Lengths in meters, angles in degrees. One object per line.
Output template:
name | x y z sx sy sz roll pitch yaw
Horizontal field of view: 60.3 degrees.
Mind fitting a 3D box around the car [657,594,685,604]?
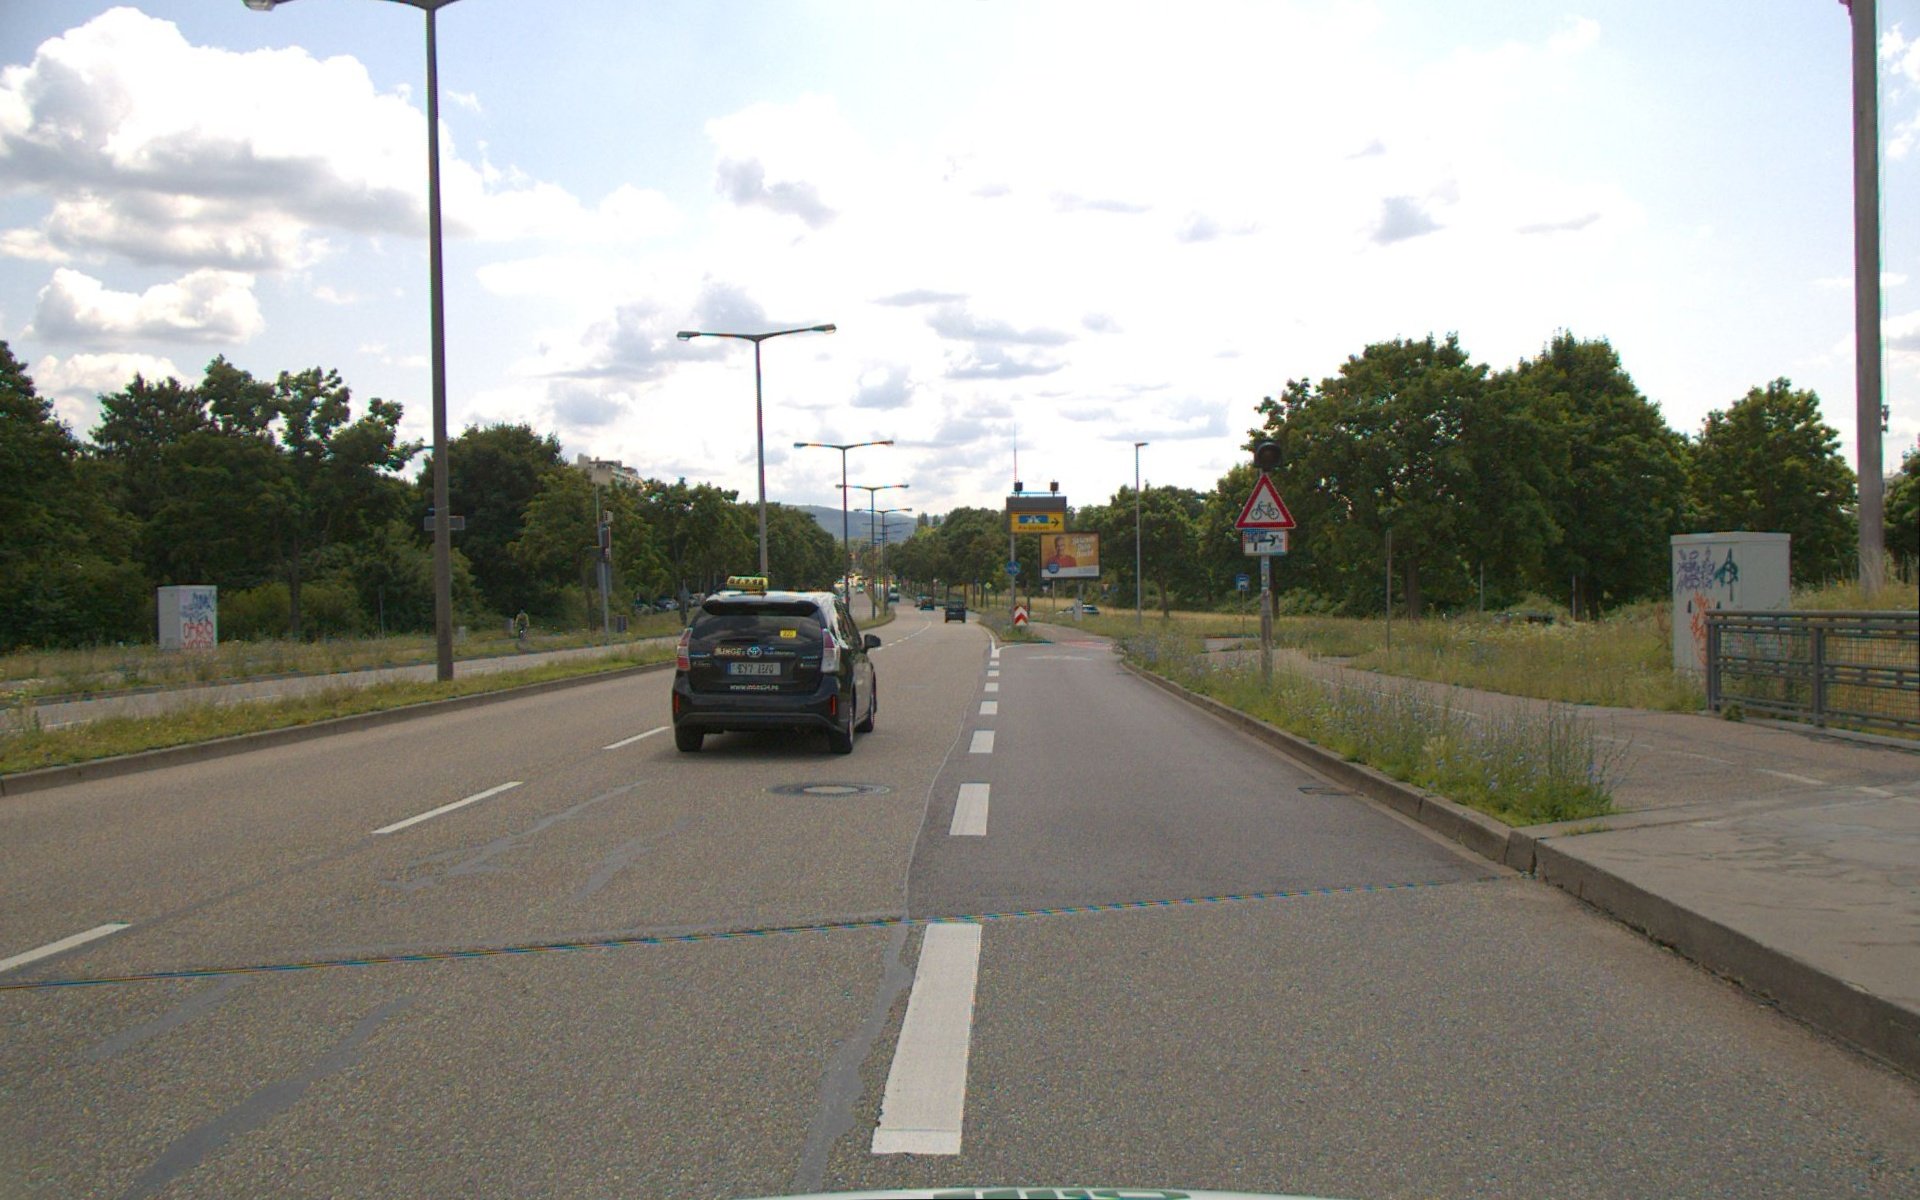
car | -42.984 -0.206 246.100 3.707 1.412 1.786 1 1 1

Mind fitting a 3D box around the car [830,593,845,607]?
car | -17.347 0.028 233.586 1.839 1.821 4.726 -3 0 -2

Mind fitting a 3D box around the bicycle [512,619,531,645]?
bicycle | -19.871 1.449 74.961 0.423 1.087 1.907 1 1 -3

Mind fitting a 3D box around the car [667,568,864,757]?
car | -1.909 0.542 17.258 1.744 1.713 3.998 1 1 -3

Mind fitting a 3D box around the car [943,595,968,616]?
car | -0.390 0.451 139.497 1.953 1.691 3.999 1 1 -2

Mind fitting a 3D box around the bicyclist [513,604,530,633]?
bicyclist | -19.889 0.834 74.980 0.510 1.294 1.106 1 1 -3

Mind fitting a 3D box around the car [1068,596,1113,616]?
car | 10.659 0.495 135.199 1.968 1.534 3.969 0 1 -25
